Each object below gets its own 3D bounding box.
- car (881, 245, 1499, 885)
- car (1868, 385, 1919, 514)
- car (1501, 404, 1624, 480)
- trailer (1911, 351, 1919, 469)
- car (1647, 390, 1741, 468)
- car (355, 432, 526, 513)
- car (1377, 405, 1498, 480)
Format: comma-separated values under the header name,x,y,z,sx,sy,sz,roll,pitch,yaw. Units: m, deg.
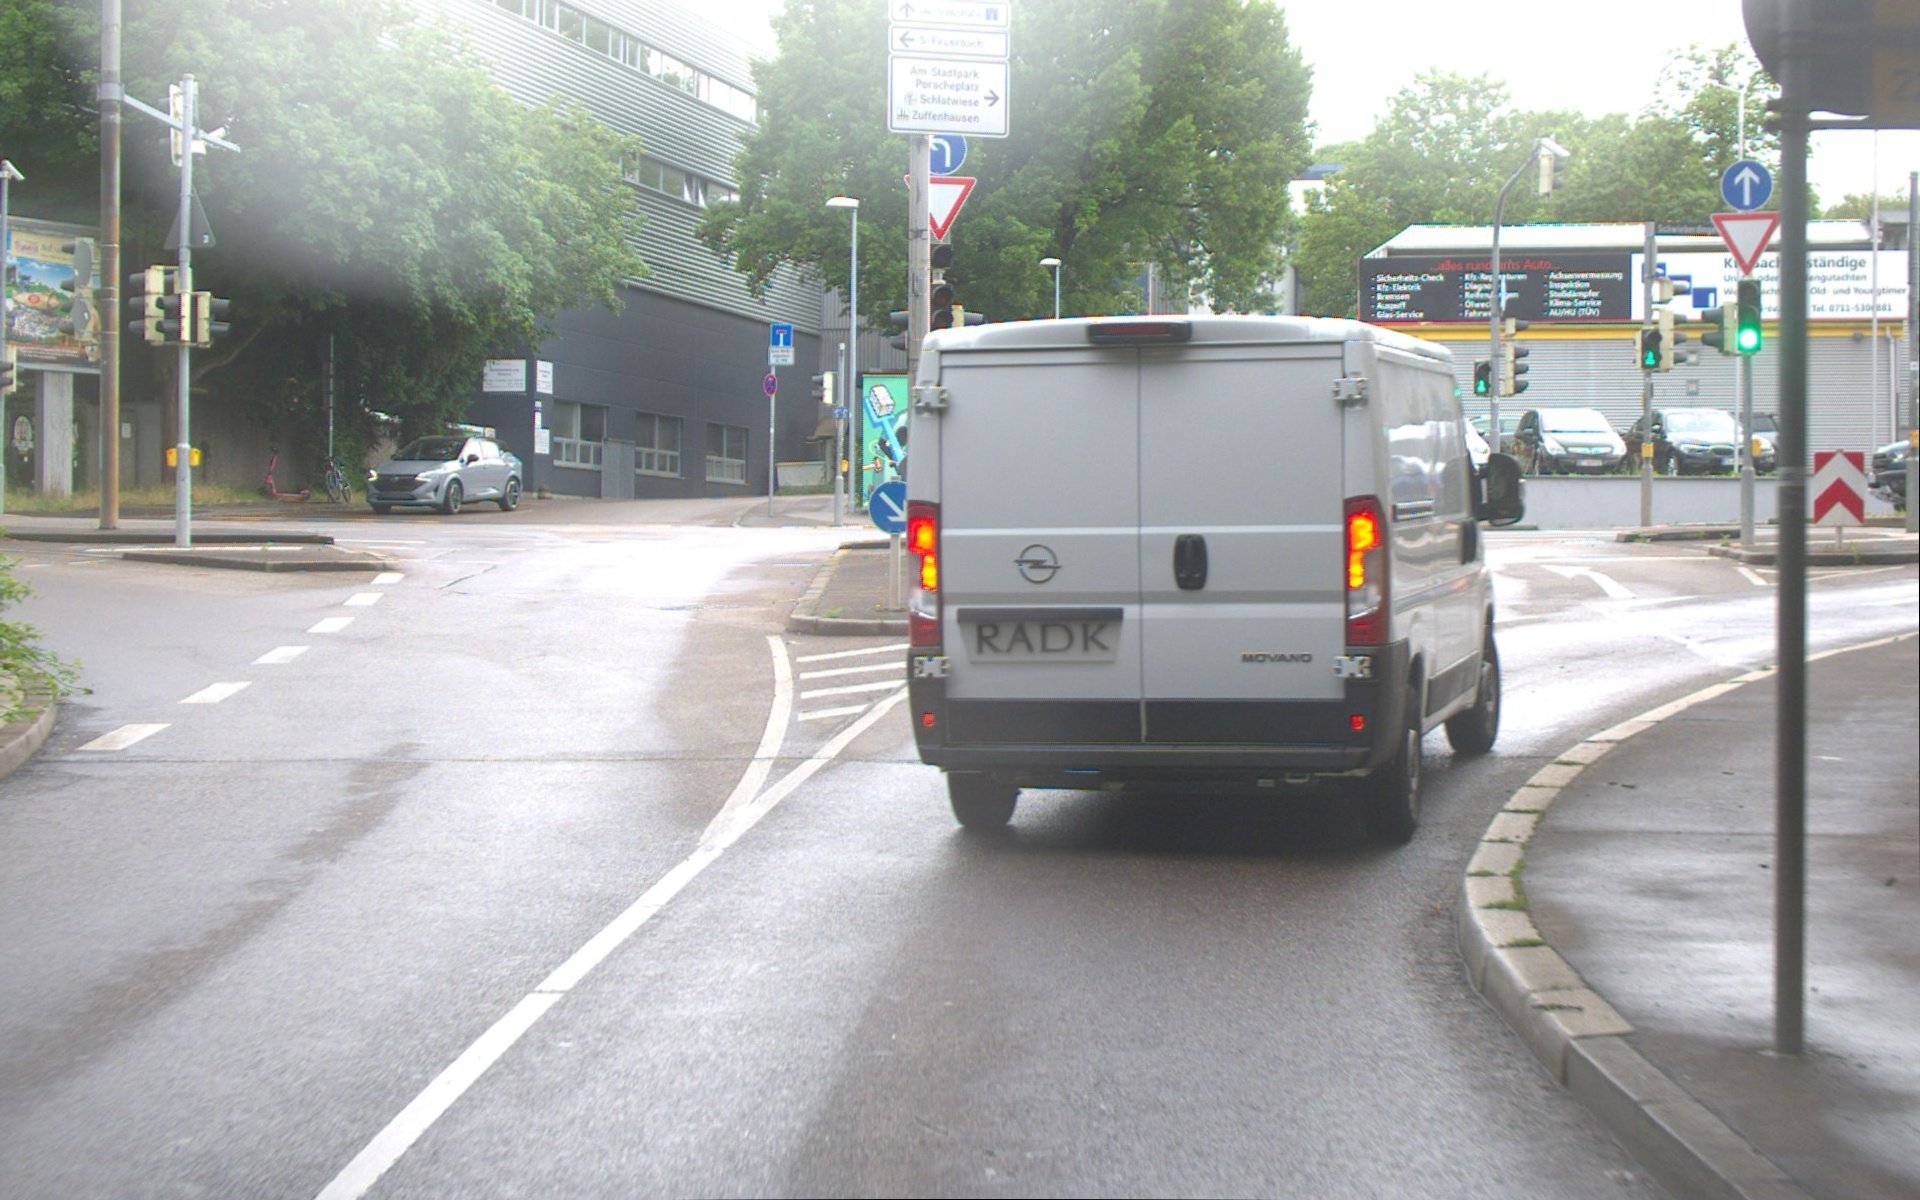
name,x,y,z,sx,sy,sz,roll,pitch,yaw
car,1.268,-0.331,16.078,2.051,2.507,4.942,1,5,14
car,16.077,-2.212,50.177,5.153,1.812,1.940,-1,0,2
car,11.214,-2.973,64.129,1.736,1.364,3.624,0,3,2
trailer,20.897,-3.869,67.650,2.387,2.420,7.120,1,1,0
car,13.647,-3.201,63.990,1.223,1.419,2.687,0,3,2
car,-10.857,-2.695,72.158,2.029,1.594,4.380,1,3,14
car,8.989,-2.996,65.000,1.867,1.364,3.624,0,3,2
